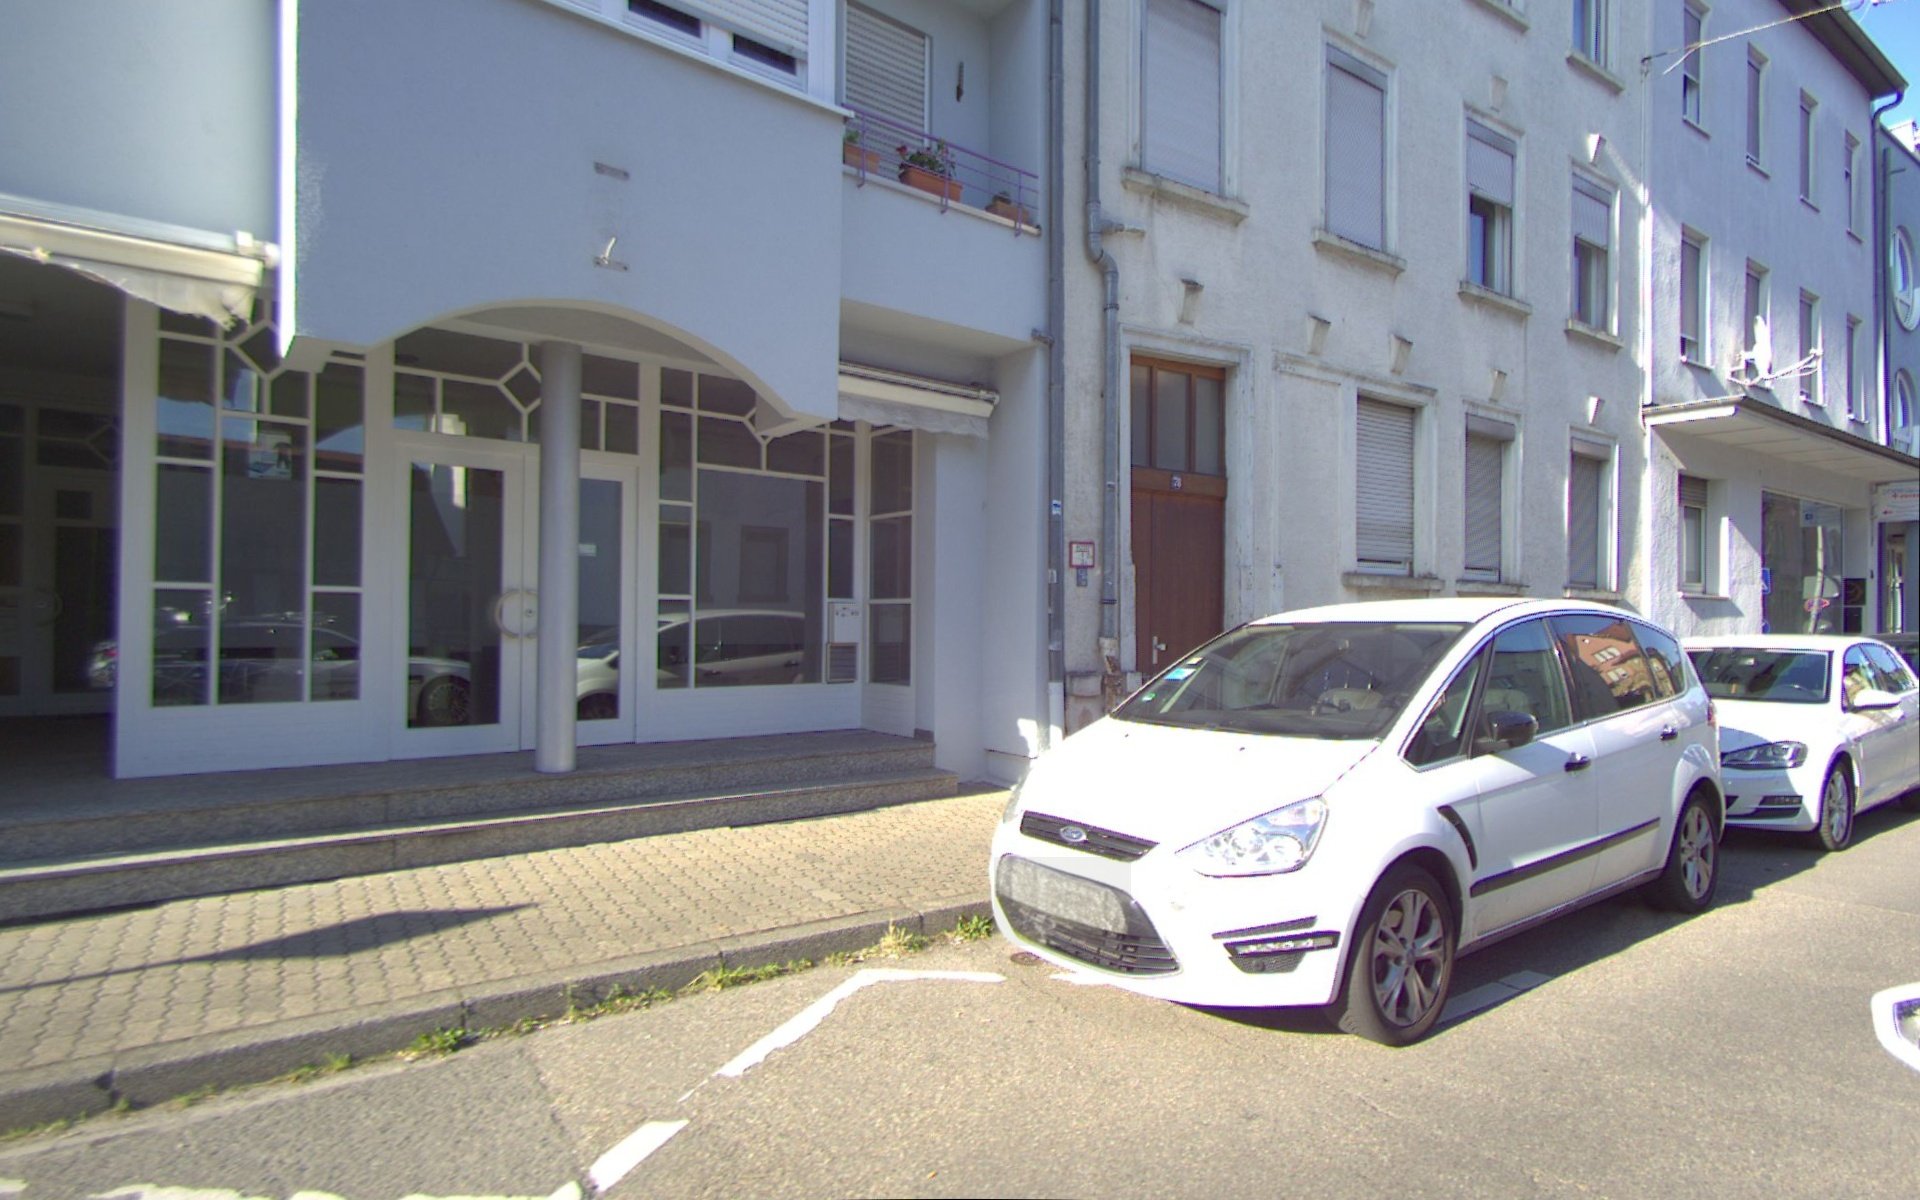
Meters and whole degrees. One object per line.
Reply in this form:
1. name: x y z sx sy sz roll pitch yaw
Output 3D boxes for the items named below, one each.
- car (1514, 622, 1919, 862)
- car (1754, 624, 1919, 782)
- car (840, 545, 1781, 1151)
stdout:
1. car: 6.493 0.969 8.259 4.085 1.515 1.754 1 -3 -35
2. car: 10.696 1.067 11.310 3.769 1.546 1.651 1 -3 -34
3. car: 2.133 0.724 5.121 5.172 1.670 1.979 1 -1 -36
